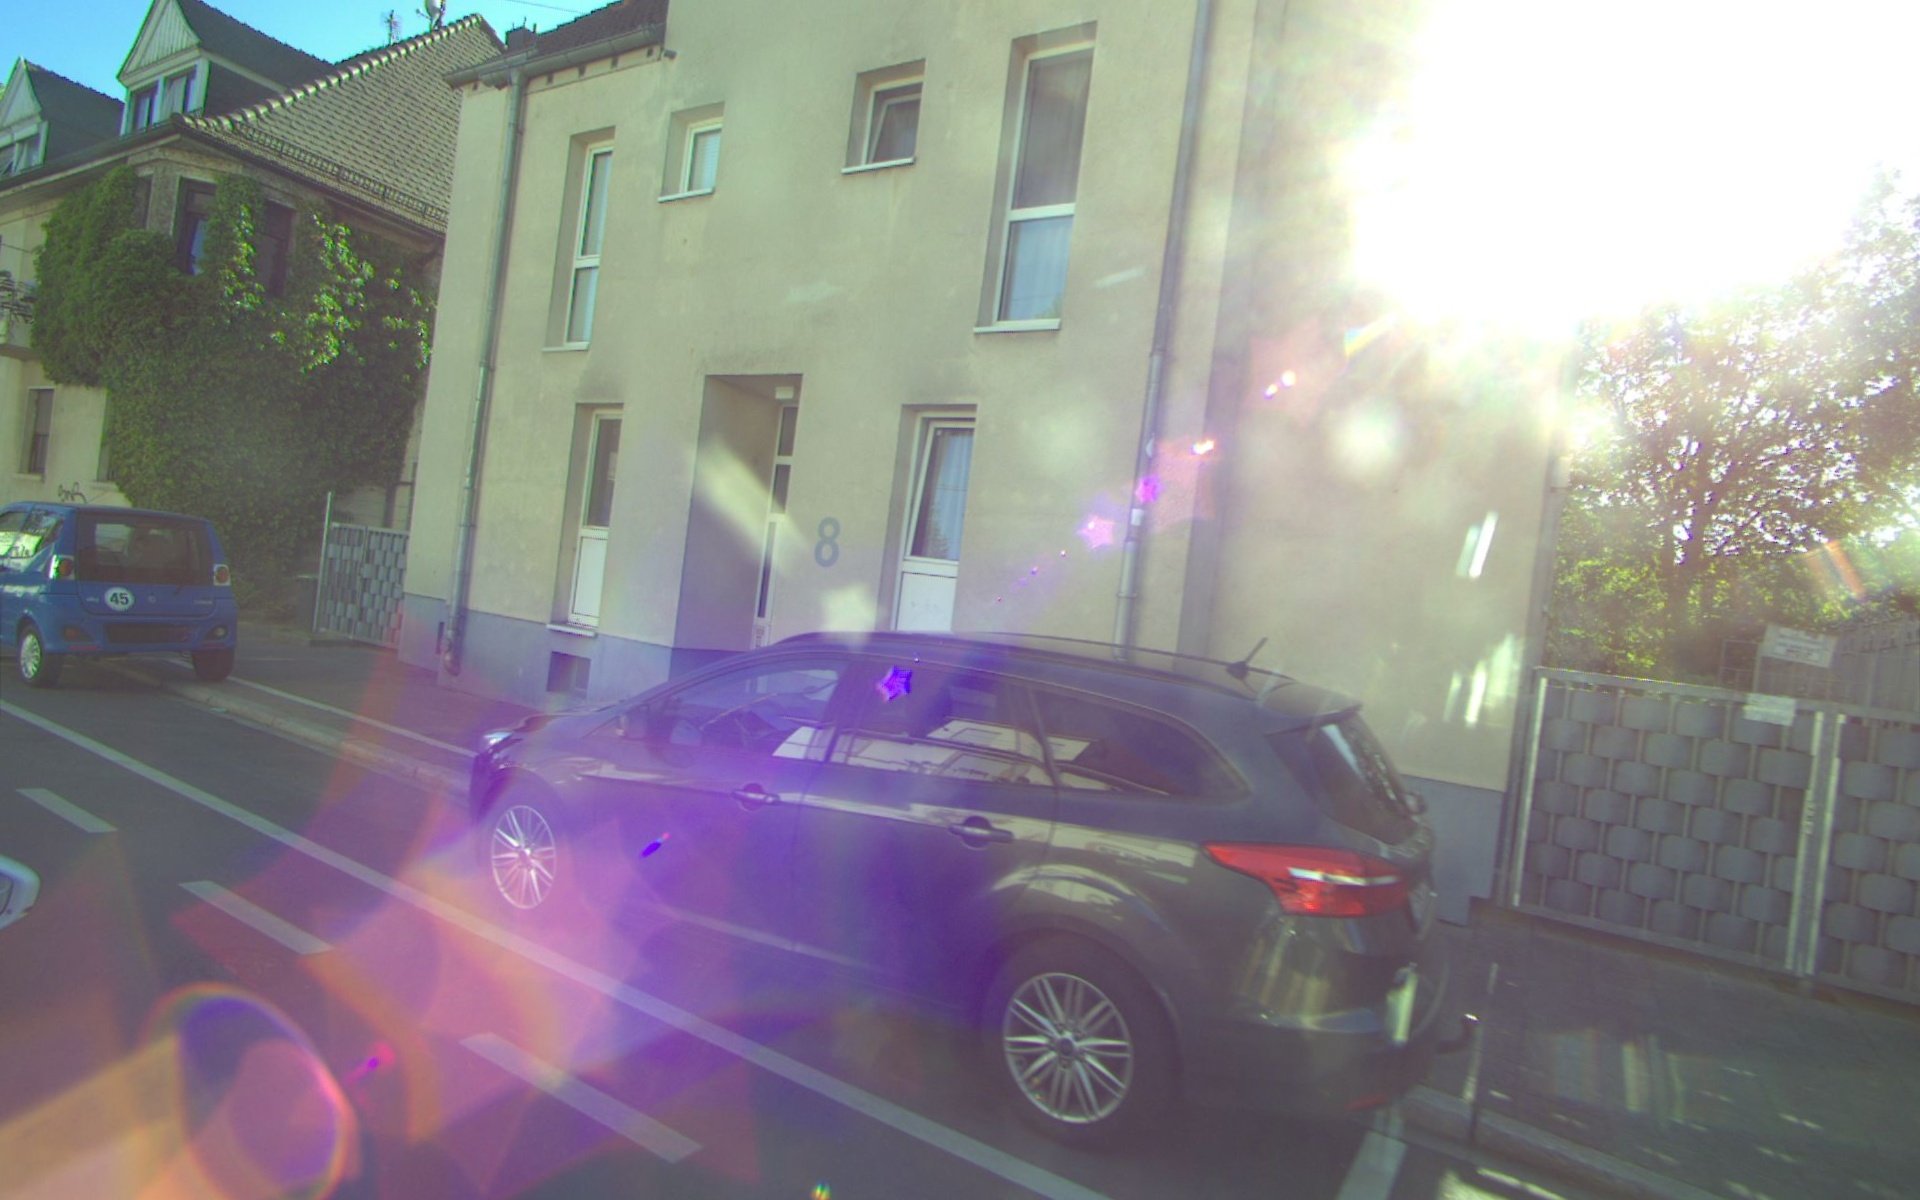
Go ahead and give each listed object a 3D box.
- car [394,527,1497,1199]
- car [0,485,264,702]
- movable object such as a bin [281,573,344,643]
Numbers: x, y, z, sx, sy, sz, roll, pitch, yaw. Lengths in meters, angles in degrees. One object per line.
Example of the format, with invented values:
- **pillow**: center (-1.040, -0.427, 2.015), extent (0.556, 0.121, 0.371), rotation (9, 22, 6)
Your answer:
- **car**: center (-0.232, 0.786, 4.377), extent (4.358, 1.617, 1.749), rotation (7, -2, 30)
- **car**: center (-8.200, -0.128, 9.334), extent (3.238, 1.617, 1.461), rotation (7, -2, 30)
- **movable object such as a bin**: center (-9.247, 0.115, 14.366), extent (0.506, 0.927, 0.494), rotation (7, 0, 29)
